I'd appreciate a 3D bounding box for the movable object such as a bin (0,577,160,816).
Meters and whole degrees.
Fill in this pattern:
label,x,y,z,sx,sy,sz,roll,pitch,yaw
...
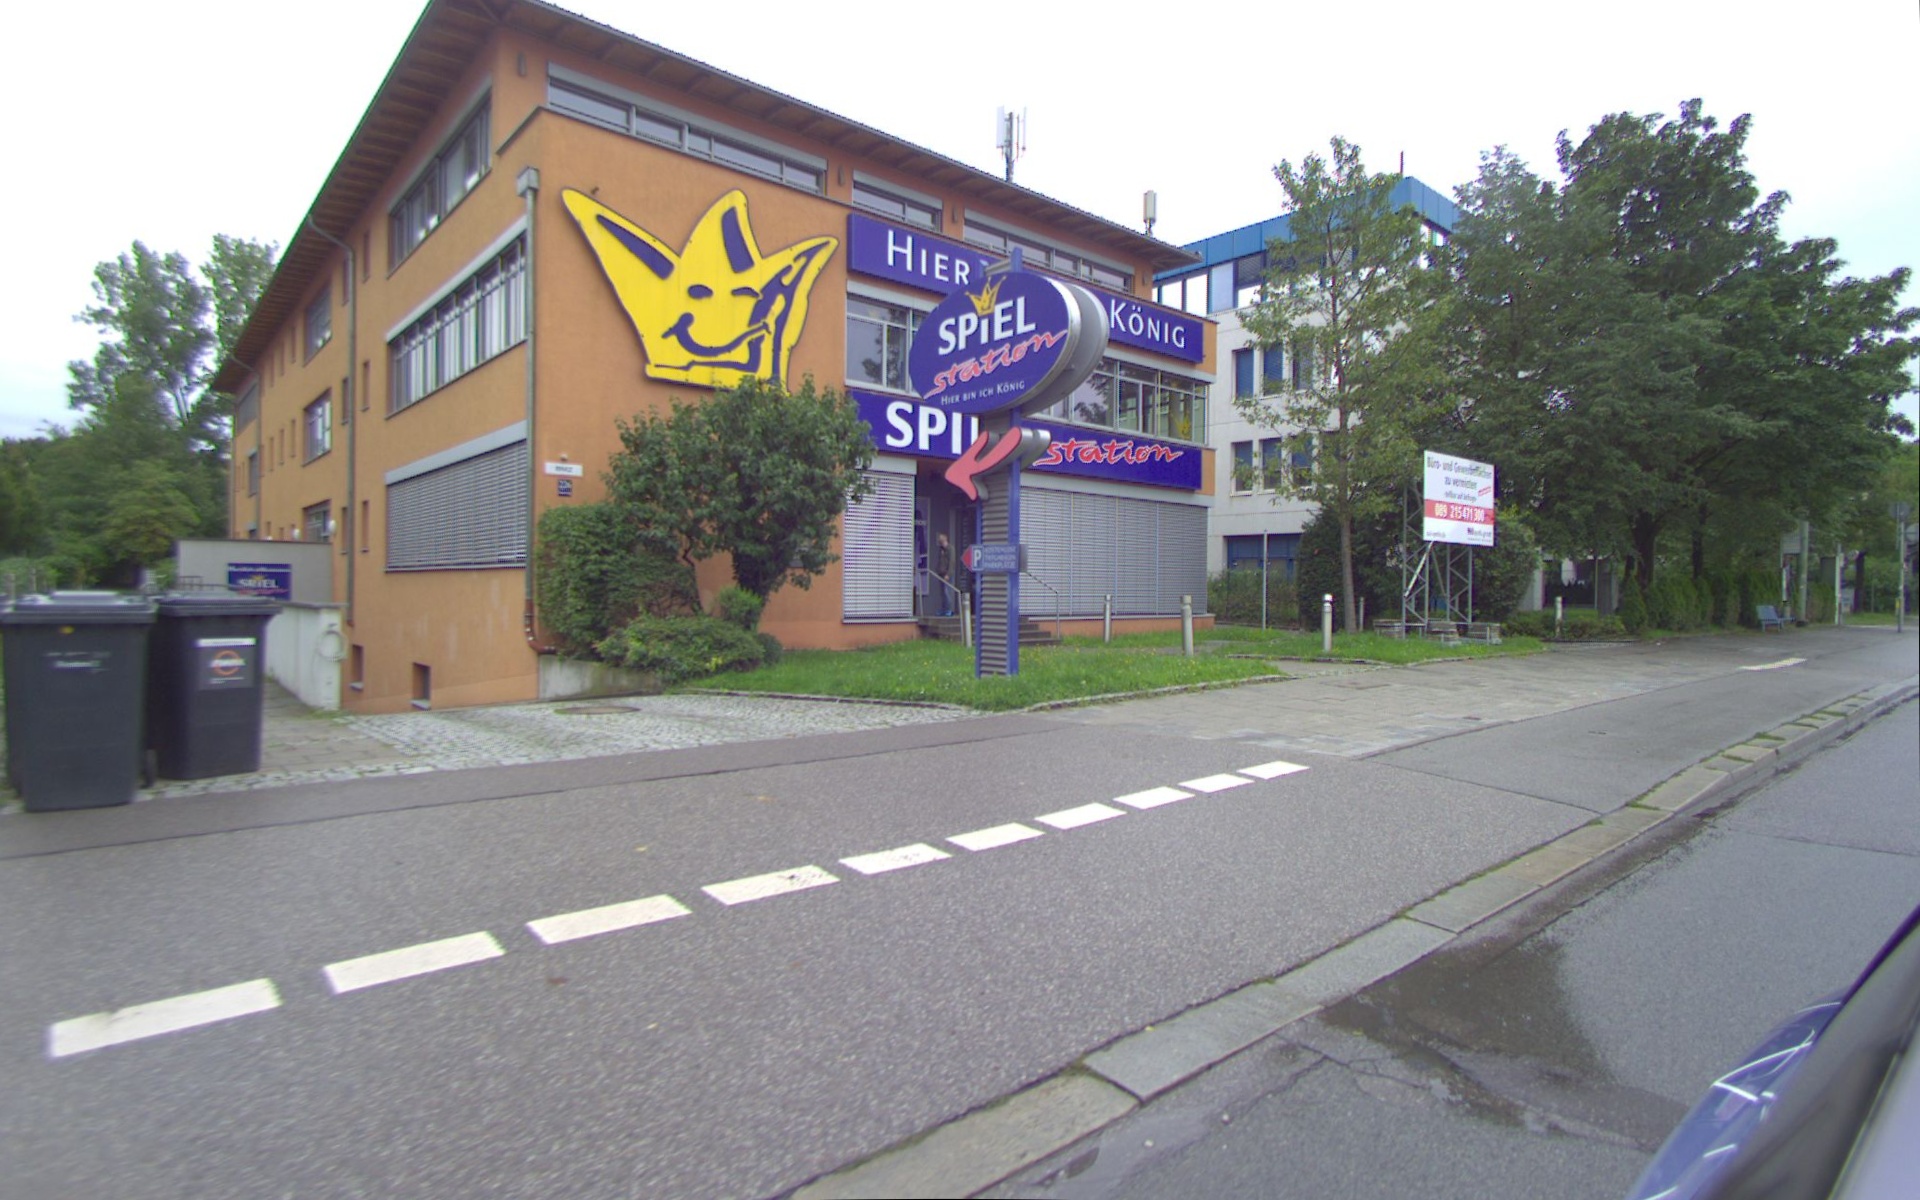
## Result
label,x,y,z,sx,sy,sz,roll,pitch,yaw
movable object such as a bin,-4.483,0.441,5.133,0.644,1.091,0.738,0,2,-40

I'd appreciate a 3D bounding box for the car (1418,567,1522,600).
label,x,y,z,sx,sy,sz,roll,pitch,yaw
car,24.274,-0.793,48.350,1.831,1.436,4.186,1,2,-24

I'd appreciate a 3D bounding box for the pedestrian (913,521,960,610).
label,x,y,z,sx,sy,sz,roll,pitch,yaw
pedestrian,-0.472,-0.694,20.320,0.649,1.733,0.662,0,2,-40

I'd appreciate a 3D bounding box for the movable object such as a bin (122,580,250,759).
label,x,y,z,sx,sy,sz,roll,pitch,yaw
movable object such as a bin,-5.178,0.428,6.764,0.644,1.091,0.738,0,2,-40

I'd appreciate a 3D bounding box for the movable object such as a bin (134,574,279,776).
label,x,y,z,sx,sy,sz,roll,pitch,yaw
movable object such as a bin,-4.489,0.401,6.021,0.644,1.091,0.738,0,2,-40
